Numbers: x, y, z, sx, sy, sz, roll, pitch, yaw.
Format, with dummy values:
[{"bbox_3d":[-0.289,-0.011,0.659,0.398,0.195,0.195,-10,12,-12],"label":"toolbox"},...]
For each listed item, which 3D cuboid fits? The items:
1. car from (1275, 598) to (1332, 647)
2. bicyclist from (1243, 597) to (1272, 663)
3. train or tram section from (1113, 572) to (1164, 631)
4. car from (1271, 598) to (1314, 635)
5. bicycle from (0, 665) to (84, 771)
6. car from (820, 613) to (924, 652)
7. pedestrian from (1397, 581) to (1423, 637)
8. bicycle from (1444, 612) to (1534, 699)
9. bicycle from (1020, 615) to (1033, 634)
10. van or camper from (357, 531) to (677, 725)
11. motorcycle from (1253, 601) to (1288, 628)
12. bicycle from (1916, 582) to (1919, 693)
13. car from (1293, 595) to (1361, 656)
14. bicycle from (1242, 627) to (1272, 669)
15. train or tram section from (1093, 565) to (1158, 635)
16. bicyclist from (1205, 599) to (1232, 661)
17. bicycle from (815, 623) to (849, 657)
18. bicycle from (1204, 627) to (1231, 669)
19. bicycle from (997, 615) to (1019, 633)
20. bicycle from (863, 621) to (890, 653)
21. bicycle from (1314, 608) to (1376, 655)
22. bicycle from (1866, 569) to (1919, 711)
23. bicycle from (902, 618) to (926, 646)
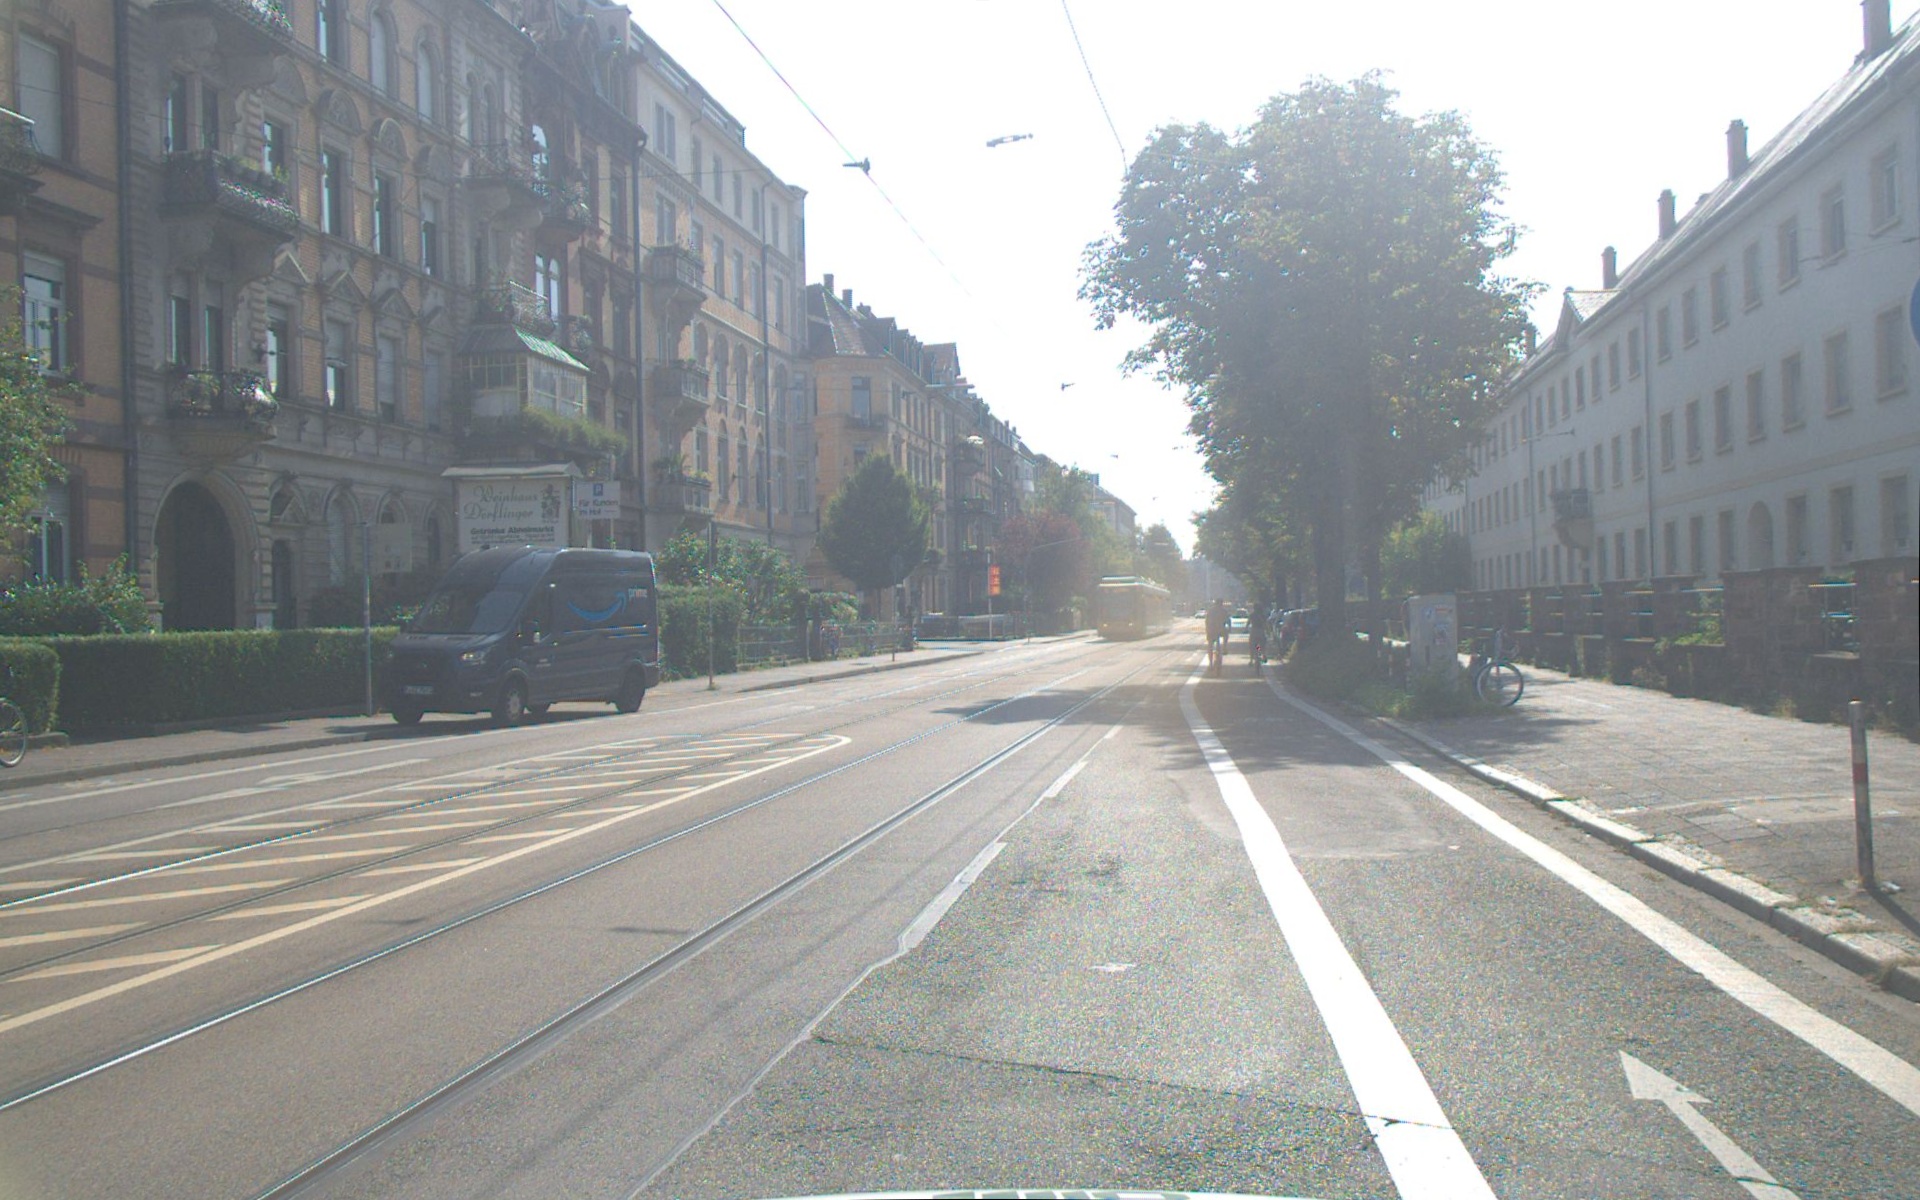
[{"bbox_3d":[11.310,0.736,54.601,1.610,1.473,4.249,-4,-1,10],"label":"car"},{"bbox_3d":[6.850,0.690,38.153,0.640,1.500,0.909,0,-1,9],"label":"bicyclist"},{"bbox_3d":[11.563,0.132,106.366,2.676,3.567,10.784,-1,0,9],"label":"train or tram section"},{"bbox_3d":[15.195,0.761,75.680,1.654,1.528,4.099,-4,-1,9],"label":"car"},{"bbox_3d":[-10.030,1.233,17.007,0.605,1.024,2.152,-2,0,9],"label":"bicycle"},{"bbox_3d":[-3.749,1.386,70.878,4.048,1.570,2.066,-1,-1,9],"label":"car"},{"bbox_3d":[14.465,0.292,53.157,0.736,1.779,0.879,-2,-1,16],"label":"pedestrian"},{"bbox_3d":[7.359,0.742,23.111,0.755,1.123,2.335,-2,0,7],"label":"bicycle"},{"bbox_3d":[4.073,1.509,101.675,0.497,1.127,2.005,-2,-1,10],"label":"bicycle"},{"bbox_3d":[-6.847,0.435,26.499,2.007,2.691,6.093,-3,-1,16],"label":"van or camper"},{"bbox_3d":[21.810,1.022,116.180,0.904,1.703,2.389,-3,-1,-35],"label":"motorcycle"},{"bbox_3d":[10.670,0.412,17.530,0.444,1.237,1.741,-1,0,14],"label":"bicycle"},{"bbox_3d":[10.394,0.703,46.696,1.610,1.567,3.845,-4,-1,15],"label":"car"},{"bbox_3d":[6.844,1.101,38.165,0.640,0.925,1.776,0,-1,9],"label":"bicycle"},{"bbox_3d":[9.515,0.040,93.370,2.676,3.567,15.445,-1,0,9],"label":"train or tram section"},{"bbox_3d":[5.994,0.687,38.359,0.613,1.425,0.930,0,-1,9],"label":"bicyclist"},{"bbox_3d":[-4.185,1.301,54.255,0.593,1.077,1.841,2,0,11],"label":"bicycle"},{"bbox_3d":[5.975,1.099,38.348,0.613,0.925,1.526,0,-1,9],"label":"bicycle"},{"bbox_3d":[2.942,1.484,100.825,1.328,1.078,0.417,0,-1,7],"label":"bicycle"},{"bbox_3d":[-3.031,1.336,60.107,0.533,1.077,1.841,2,0,11],"label":"bicycle"},{"bbox_3d":[9.400,0.770,40.374,1.711,1.092,0.518,-1,-1,-39],"label":"bicycle"},{"bbox_3d":[10.362,0.415,17.981,0.444,1.480,1.741,-1,0,14],"label":"bicycle"},{"bbox_3d":[-1.872,1.300,67.043,0.533,1.077,1.841,2,0,11],"label":"bicycle"}]
